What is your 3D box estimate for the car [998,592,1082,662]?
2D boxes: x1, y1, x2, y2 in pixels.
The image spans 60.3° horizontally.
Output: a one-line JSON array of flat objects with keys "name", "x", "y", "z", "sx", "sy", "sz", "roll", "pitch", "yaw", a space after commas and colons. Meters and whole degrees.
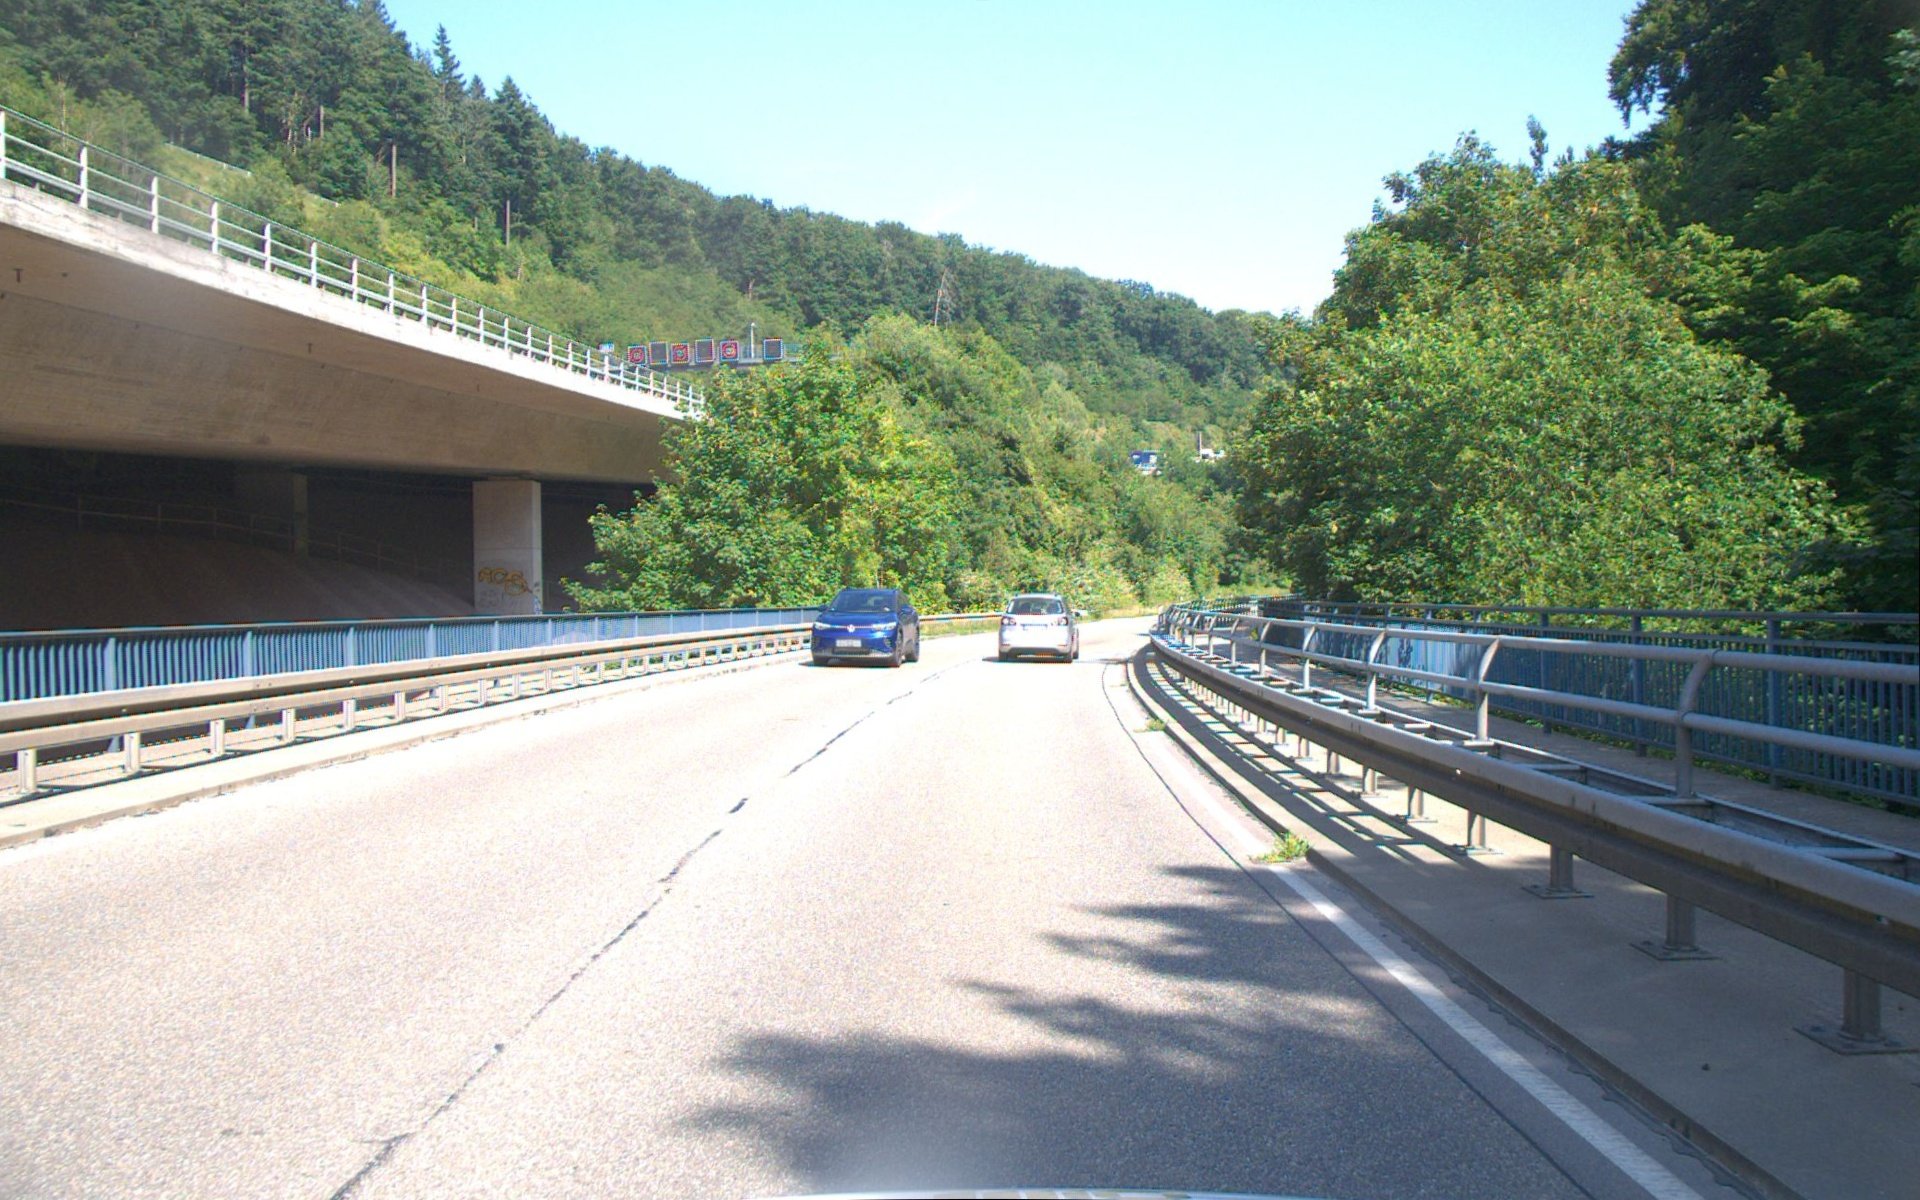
[{"name": "car", "x": 1.937, "y": 0.621, "z": 39.096, "sx": 1.714, "sy": 1.546, "sz": 4.162, "roll": 0, "pitch": 0, "yaw": 6}]

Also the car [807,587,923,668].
[{"name": "car", "x": -1.981, "y": 0.549, "z": 35.799, "sx": 1.858, "sy": 1.608, "sz": 4.557, "roll": 1, "pitch": 0, "yaw": 5}]
